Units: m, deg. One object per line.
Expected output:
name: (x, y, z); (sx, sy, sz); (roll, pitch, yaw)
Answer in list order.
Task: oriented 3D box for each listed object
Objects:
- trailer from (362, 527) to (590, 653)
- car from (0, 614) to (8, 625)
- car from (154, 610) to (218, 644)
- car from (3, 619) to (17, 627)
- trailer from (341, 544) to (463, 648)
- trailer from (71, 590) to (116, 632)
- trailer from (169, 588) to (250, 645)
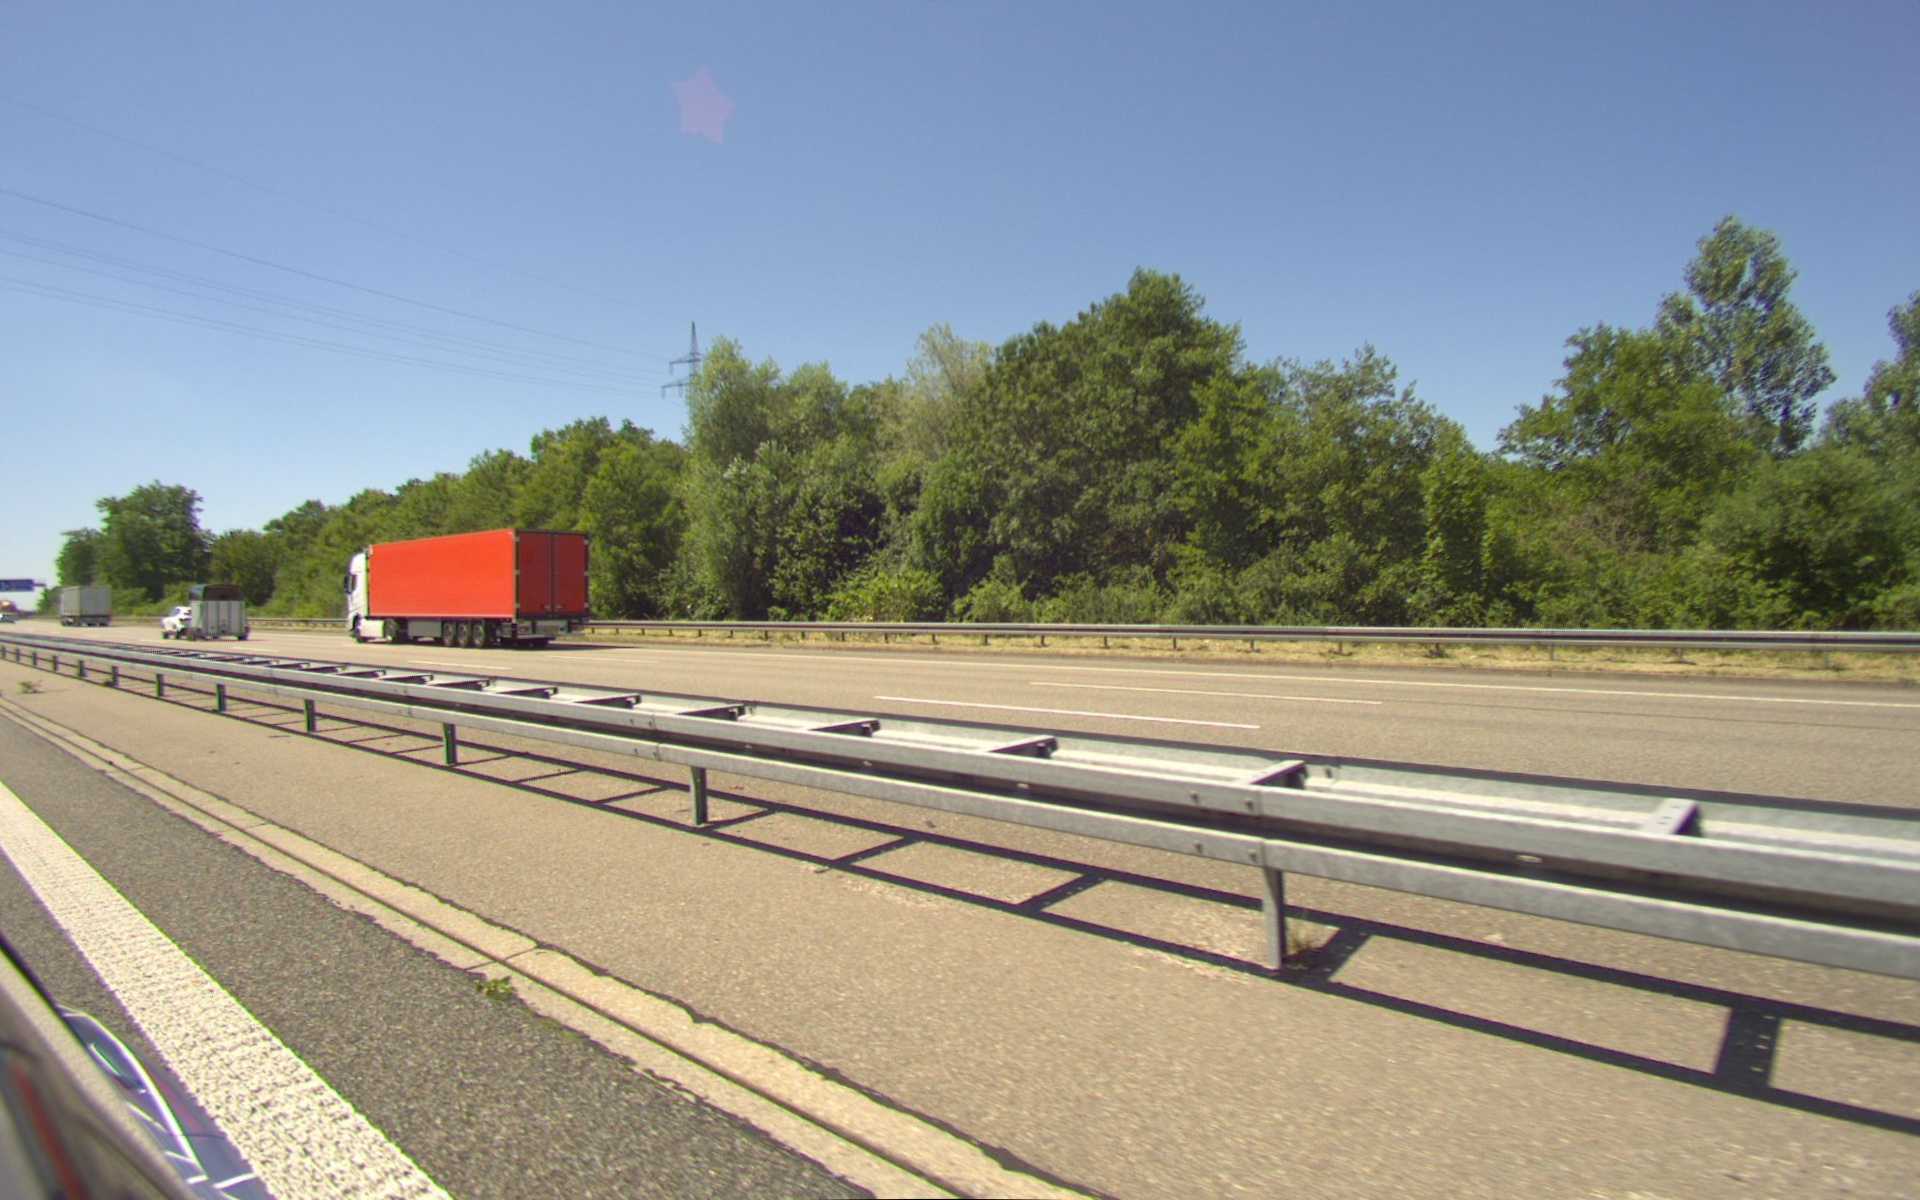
trailer: (-18.805, -0.231, 38.451); (14.046, 4.098, 2.655); (-1, 0, 42)
car: (-130.120, 2.692, 136.923); (4.124, 1.465, 1.646); (-1, -1, 44)
car: (-39.565, 1.385, 51.709); (4.017, 1.644, 1.817); (-1, -1, 41)
car: (-181.325, 4.372, 193.176); (4.000, 1.490, 1.702); (-1, -1, 43)
trailer: (-23.709, -0.124, 42.879); (6.035, 4.072, 2.660); (-1, -1, 42)
trailer: (-89.160, 1.162, 104.021); (2.639, 3.996, 13.673); (-1, 0, -44)
trailer: (-36.176, 0.785, 48.738); (4.952, 2.633, 2.064); (-1, -1, 40)
